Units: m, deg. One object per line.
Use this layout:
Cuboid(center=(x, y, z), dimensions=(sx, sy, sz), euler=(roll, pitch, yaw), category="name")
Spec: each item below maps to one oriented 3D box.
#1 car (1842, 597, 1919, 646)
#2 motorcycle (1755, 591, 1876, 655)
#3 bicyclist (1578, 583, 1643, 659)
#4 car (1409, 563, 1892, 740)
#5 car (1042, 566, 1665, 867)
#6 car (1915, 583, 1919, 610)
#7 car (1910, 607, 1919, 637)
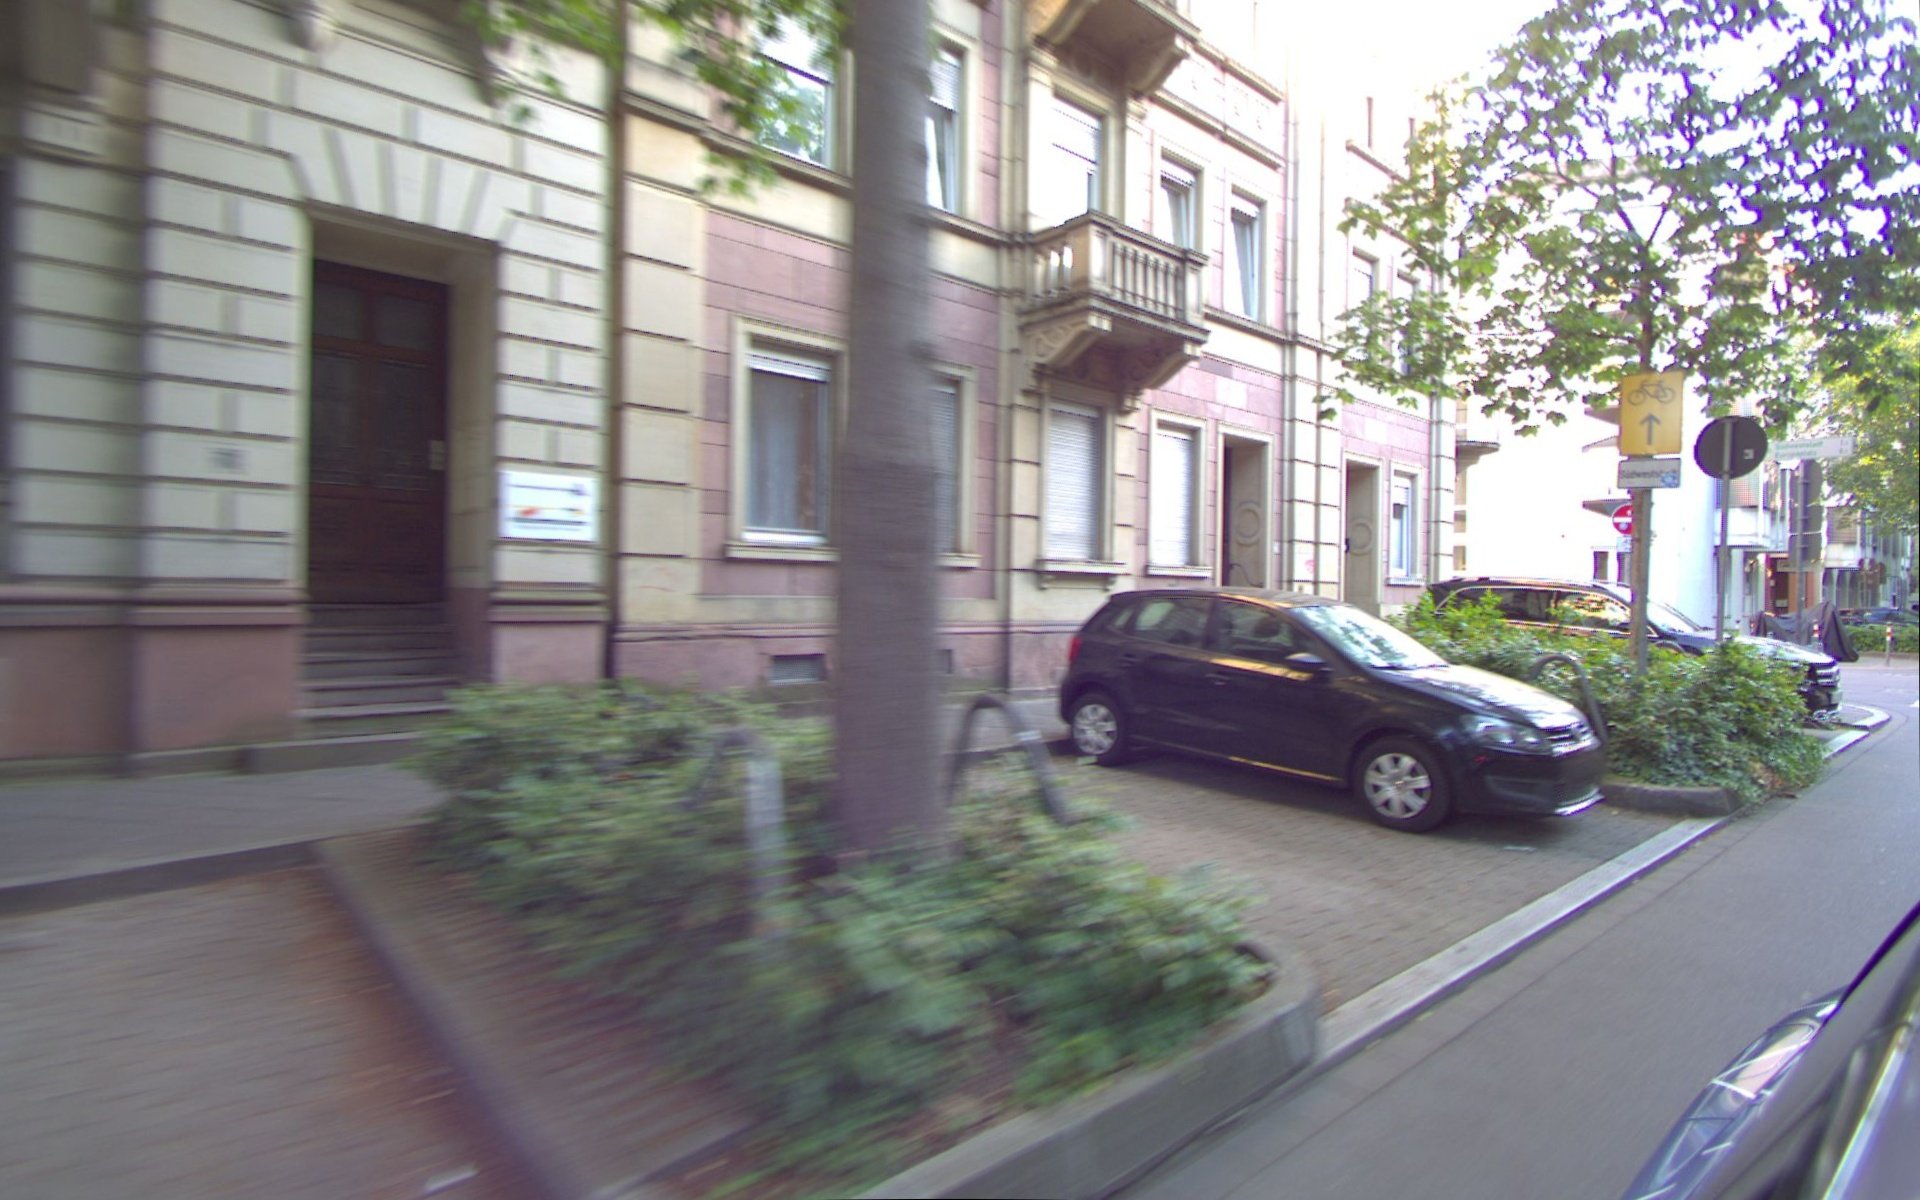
Cuboid(center=(33.613, 0.735, 35.241), dimensions=(1.563, 1.697, 4.161), euler=(1, -2, -41), category="car")
Cuboid(center=(21.506, 0.568, 25.506), dimensions=(2.231, 1.565, 0.764), euler=(-1, 0, 34), category="motorcycle")
Cuboid(center=(14.500, 0.452, 22.582), dimensions=(0.741, 1.642, 1.146), euler=(0, 0, 4), category="bicyclist")
Cuboid(center=(8.076, 0.460, 12.306), dimensions=(1.830, 1.580, 4.430), euler=(2, 3, -34), category="car")
Cuboid(center=(2.646, 0.592, 7.484), dimensions=(1.751, 1.445, 3.873), euler=(1, 3, -42), category="car")
Cuboid(center=(54.406, -0.234, 54.976), dimensions=(1.563, 1.438, 3.548), euler=(1, -2, -41), category="car")
Cuboid(center=(48.701, 1.047, 49.144), dimensions=(1.563, 1.438, 3.548), euler=(1, -2, -41), category="car")
